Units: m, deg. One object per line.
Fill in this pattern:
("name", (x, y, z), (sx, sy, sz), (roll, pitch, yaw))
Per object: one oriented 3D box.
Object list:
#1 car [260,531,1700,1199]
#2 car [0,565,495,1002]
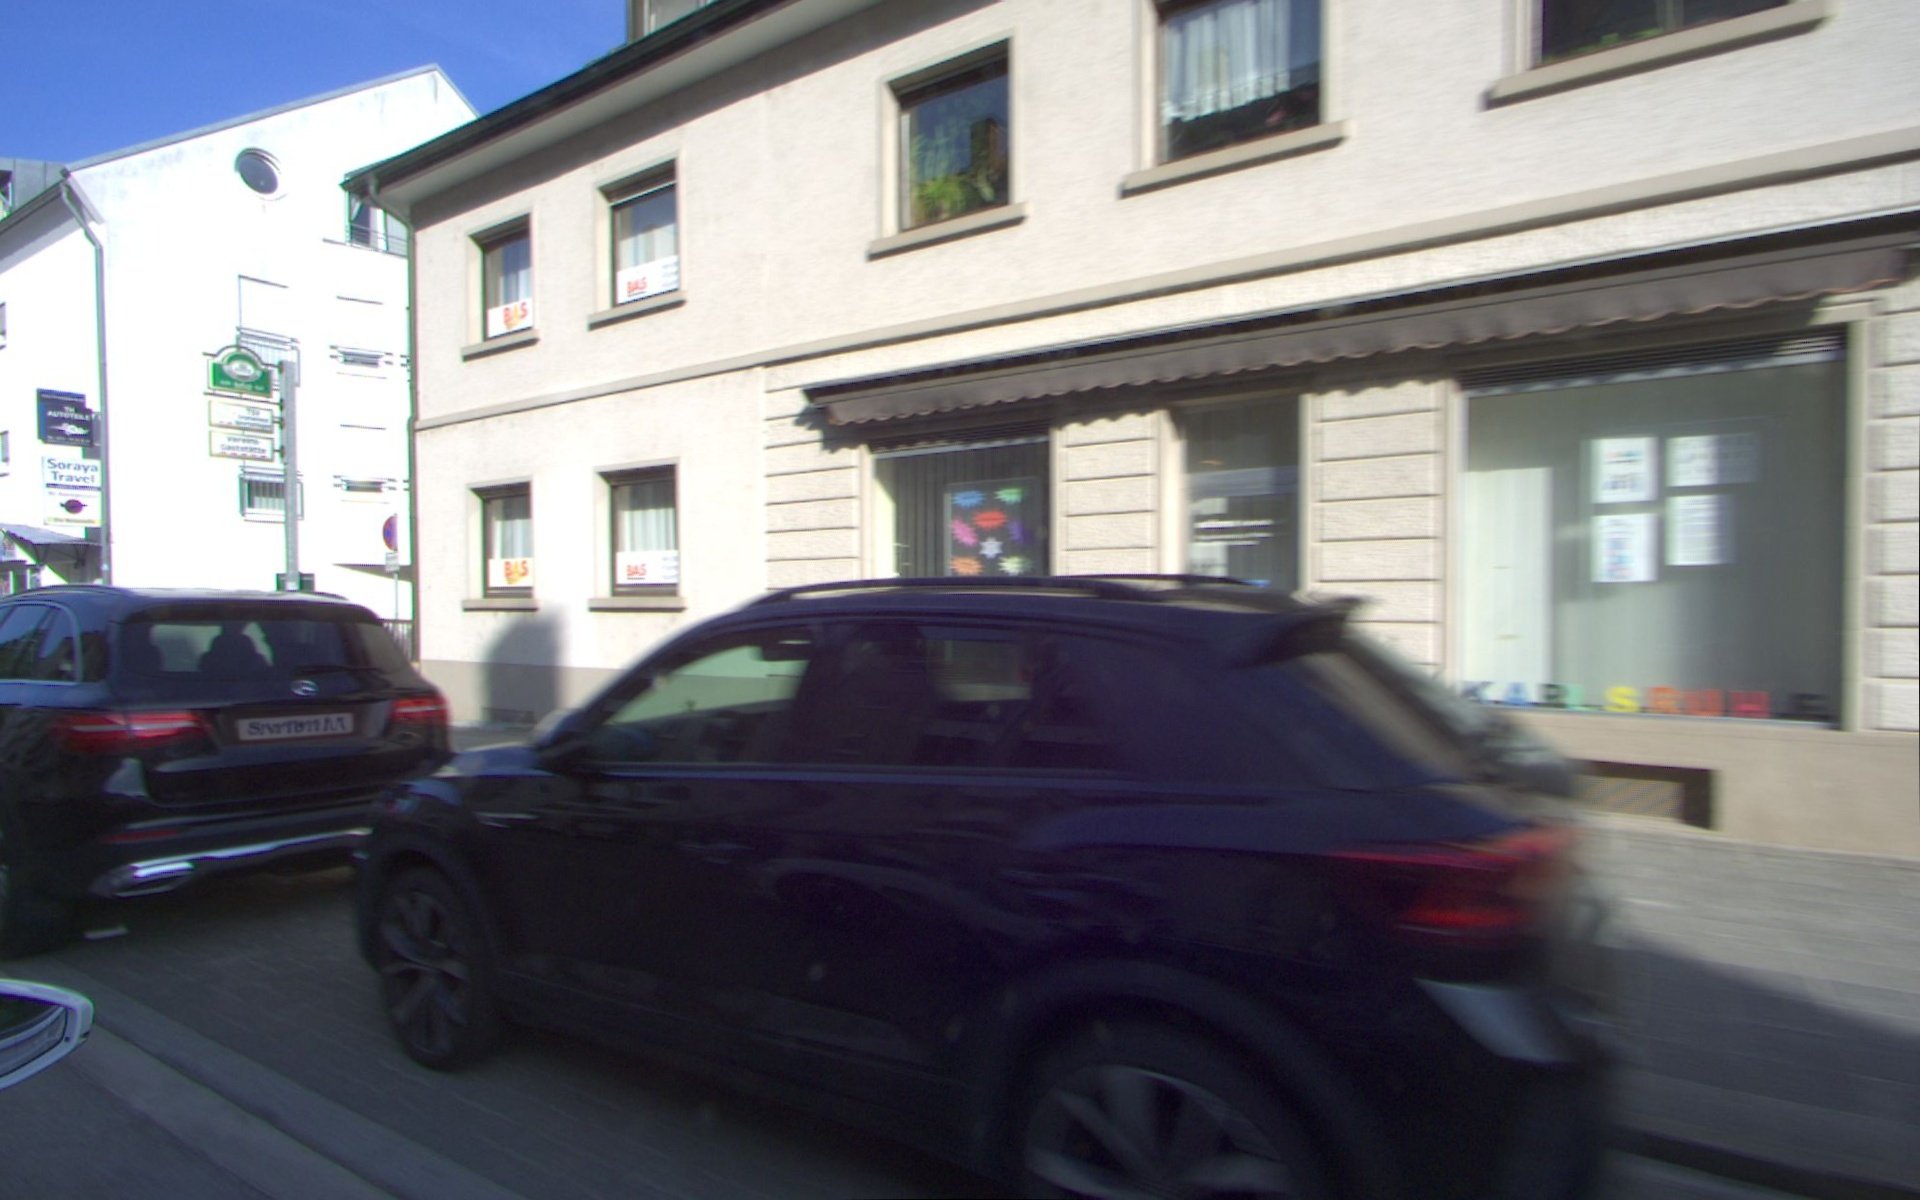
("car", (-0.280, 0.701, 3.337), (4.255, 1.581, 1.826), (-1, 1, 32))
("car", (-4.793, 0.708, 5.777), (4.402, 1.652, 1.825), (-1, 0, 34))
